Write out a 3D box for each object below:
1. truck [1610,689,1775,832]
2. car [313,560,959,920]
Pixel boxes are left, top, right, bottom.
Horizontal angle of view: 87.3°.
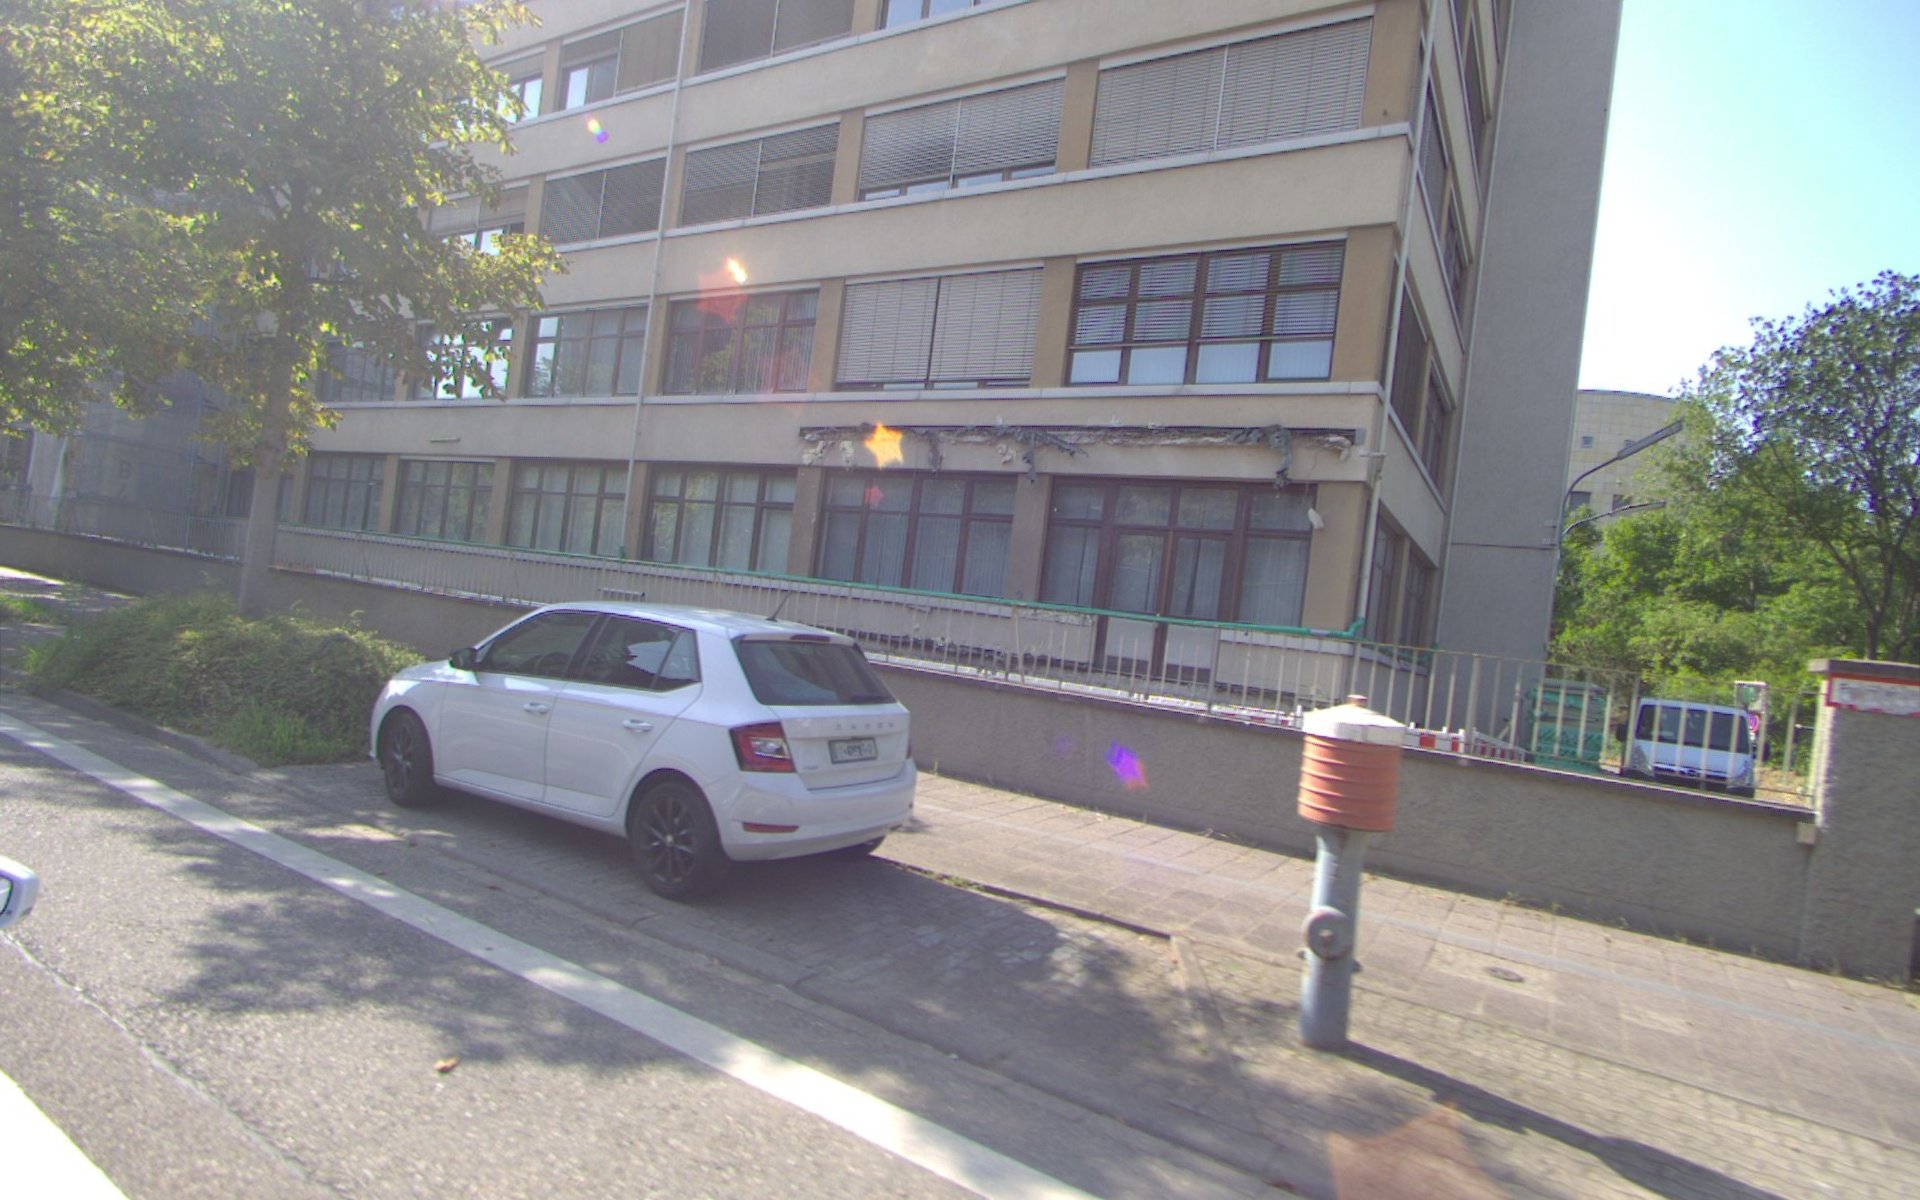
[{"bbox_3d":[15.041,3.169,21.038,2.086,2.241,6.577,6,-2,32],"label":"truck"},{"bbox_3d":[-2.169,0.684,6.463,3.922,1.447,1.643,6,-1,30],"label":"car"}]
